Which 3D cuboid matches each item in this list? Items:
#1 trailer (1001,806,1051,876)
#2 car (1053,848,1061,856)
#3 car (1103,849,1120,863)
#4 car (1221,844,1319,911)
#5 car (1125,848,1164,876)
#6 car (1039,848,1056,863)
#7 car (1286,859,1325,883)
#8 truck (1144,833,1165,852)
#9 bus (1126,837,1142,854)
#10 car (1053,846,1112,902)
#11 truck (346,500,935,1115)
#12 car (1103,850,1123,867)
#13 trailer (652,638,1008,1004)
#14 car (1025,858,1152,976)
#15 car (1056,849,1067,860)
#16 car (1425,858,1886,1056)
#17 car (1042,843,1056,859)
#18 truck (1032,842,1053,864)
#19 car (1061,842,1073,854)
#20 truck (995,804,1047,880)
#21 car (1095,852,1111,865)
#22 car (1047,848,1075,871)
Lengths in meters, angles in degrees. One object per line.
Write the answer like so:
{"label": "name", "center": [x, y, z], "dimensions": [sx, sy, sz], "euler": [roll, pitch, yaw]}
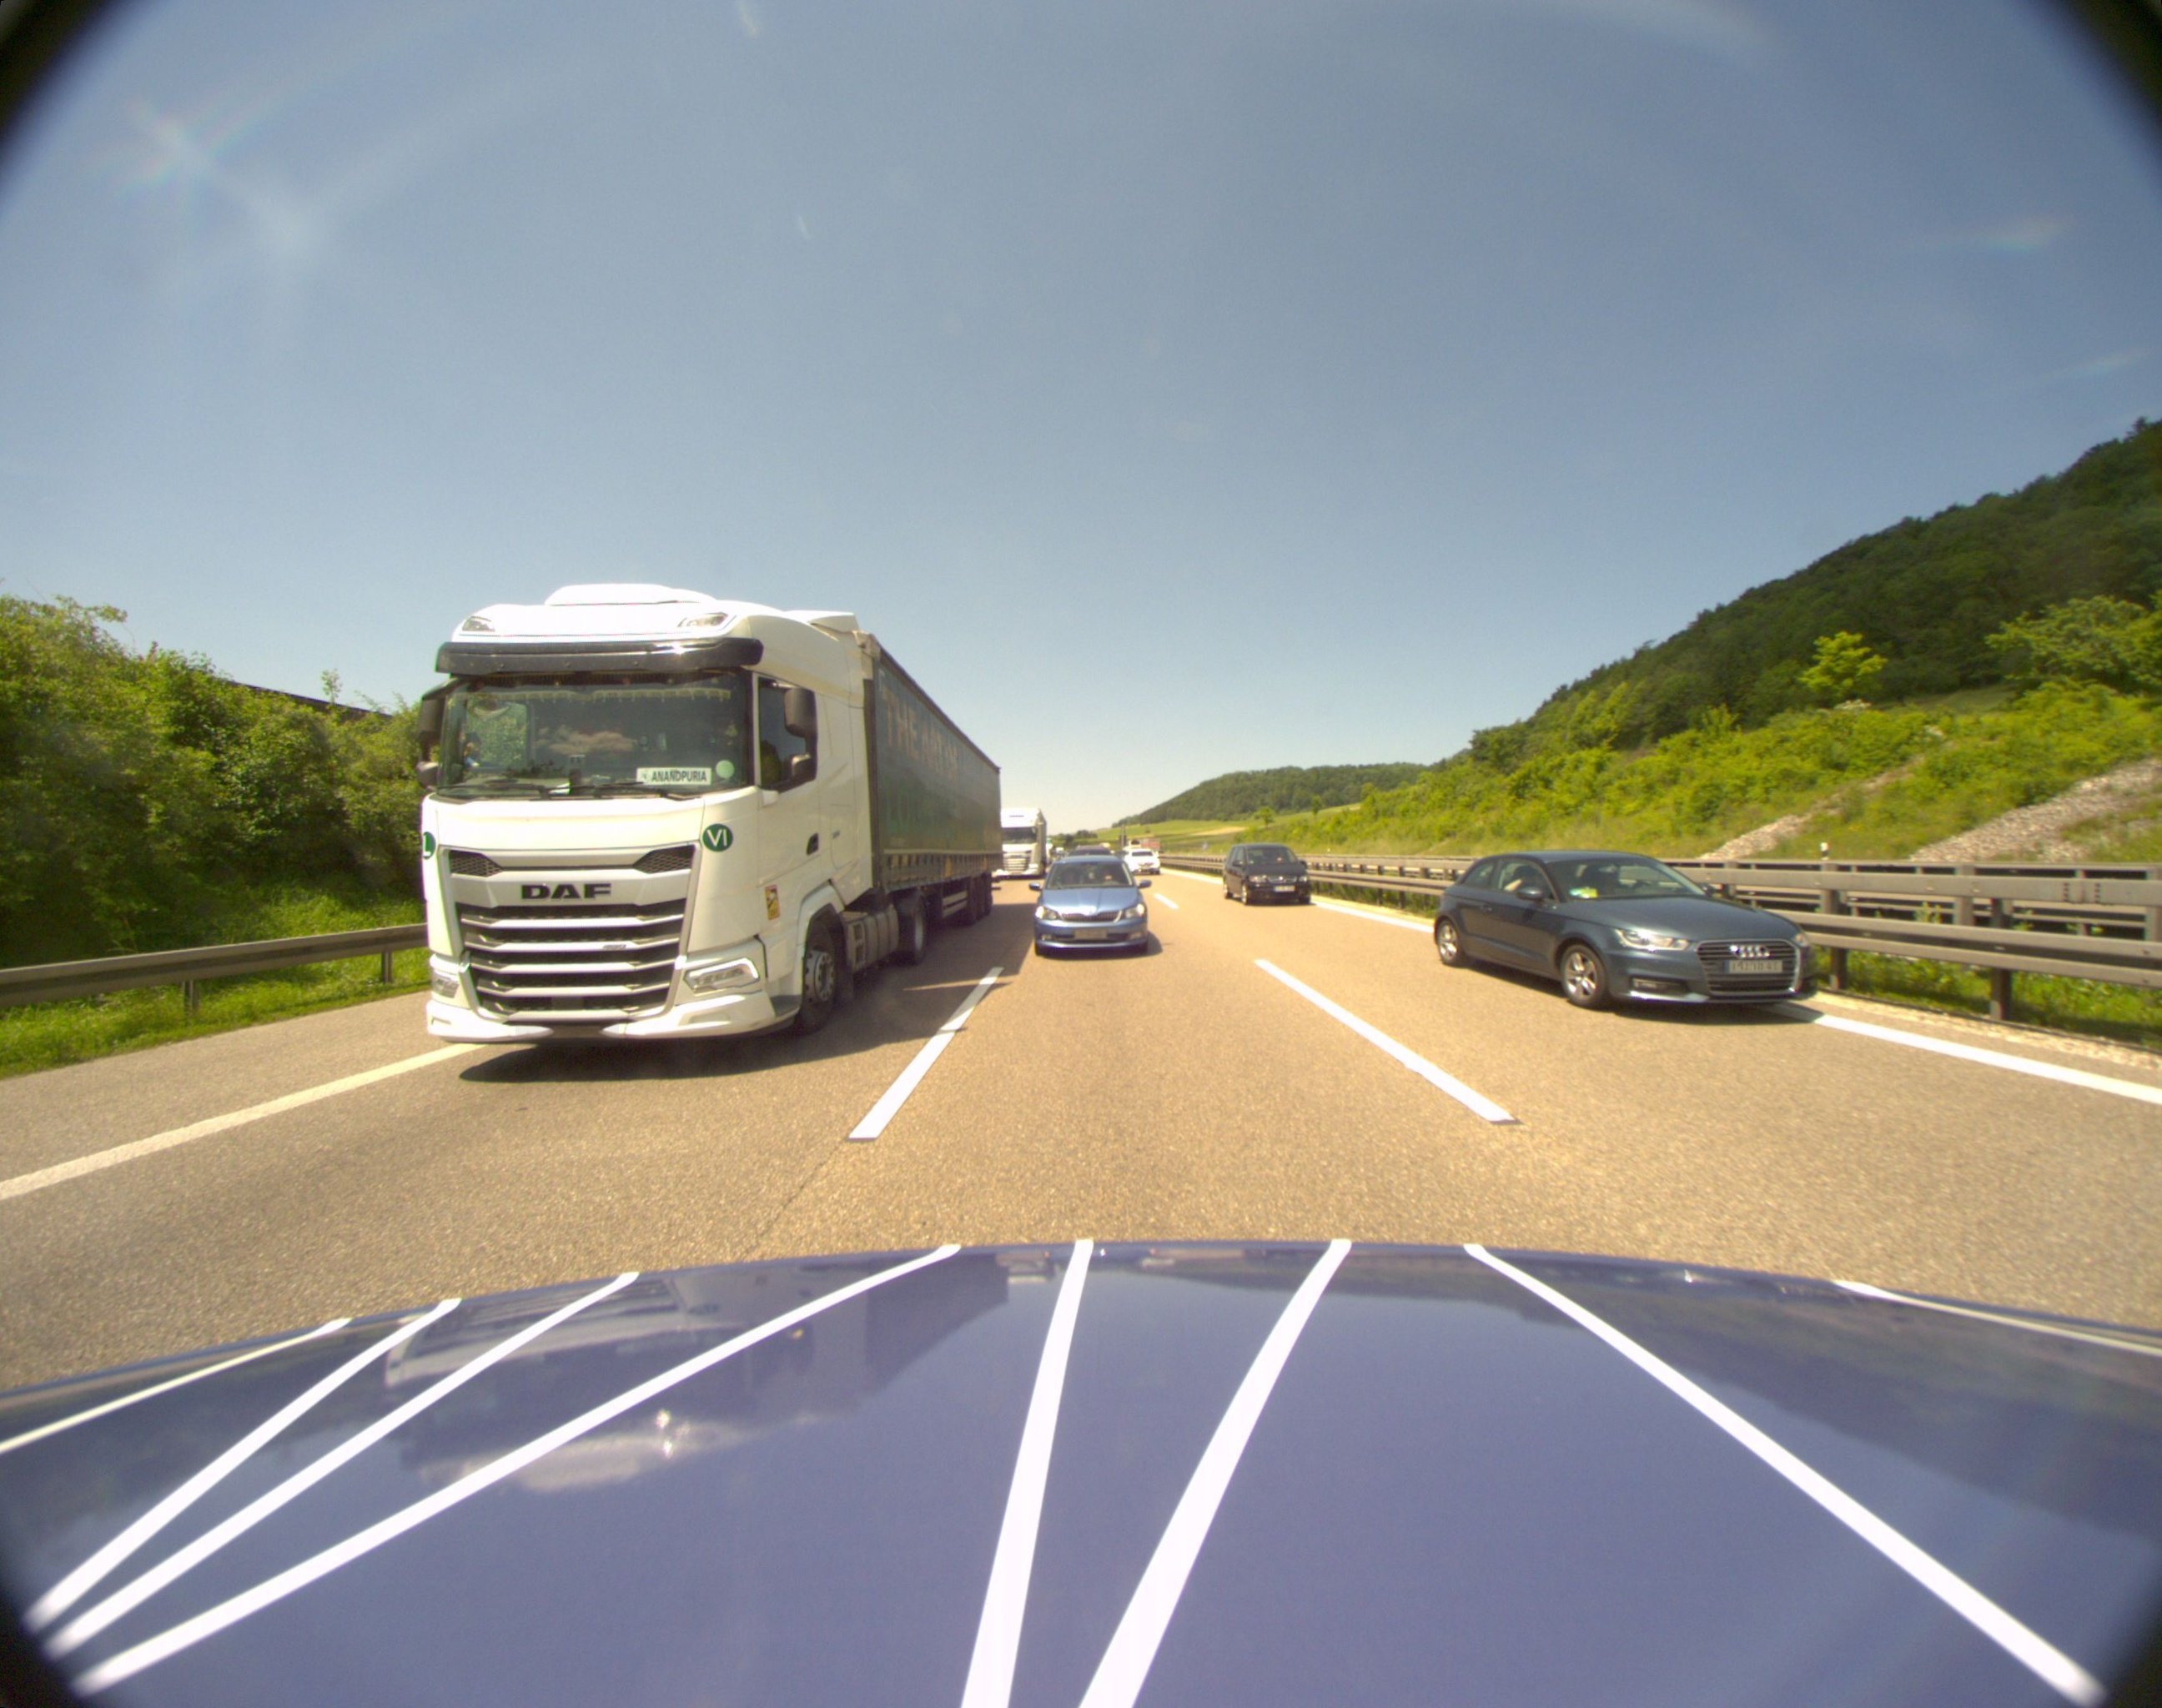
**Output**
{"label": "trailer", "center": [-3.582, -0.860, 52.228], "dimensions": [2.544, 4.085, 13.624], "euler": [-2, 1, -1]}
{"label": "car", "center": [-6.432, -0.597, 201.903], "dimensions": [1.998, 2.002, 3.999], "euler": [-2, 1, 1]}
{"label": "car", "center": [3.892, 0.269, 97.542], "dimensions": [1.998, 1.702, 4.000], "euler": [-2, 1, 4]}
{"label": "car", "center": [5.058, 0.568, 20.941], "dimensions": [1.805, 1.625, 4.446], "euler": [-1, 1, 3]}
{"label": "car", "center": [3.872, 0.444, 46.932], "dimensions": [1.999, 1.612, 3.999], "euler": [-2, 1, 0]}
{"label": "car", "center": [-4.131, 0.148, 94.819], "dimensions": [1.778, 1.655, 3.999], "euler": [-2, 1, 1]}
{"label": "car", "center": [18.195, 1.368, 61.843], "dimensions": [1.998, 1.702, 3.999], "euler": [-2, 1, 1]}
{"label": "truck", "center": [16.100, -2.482, 167.689], "dimensions": [3.626, 4.079, 9.921], "euler": [-1, 1, 1]}
{"label": "bus", "center": [11.739, -1.888, 170.218], "dimensions": [2.686, 3.640, 14.815], "euler": [-1, 1, 1]}
{"label": "car", "center": [0.128, 0.583, 25.291], "dimensions": [1.736, 1.674, 4.198], "euler": [-1, 1, 3]}
{"label": "truck", "center": [-3.466, -0.320, 8.141], "dimensions": [2.484, 3.954, 6.380], "euler": [-1, 1, 0]}
{"label": "car", "center": [3.527, 0.493, 82.729], "dimensions": [1.998, 1.702, 4.000], "euler": [-2, 1, 4]}
{"label": "trailer", "center": [-3.400, -0.415, 15.148], "dimensions": [2.484, 3.954, 13.653], "euler": [-1, 1, 0]}
{"label": "car", "center": [0.126, 0.849, 12.477], "dimensions": [1.660, 1.481, 4.653], "euler": [-1, 1, 1]}
{"label": "car", "center": [-4.095, 0.120, 157.339], "dimensions": [1.998, 2.002, 3.999], "euler": [-2, 1, 1]}
{"label": "car", "center": [5.150, 0.776, 7.617], "dimensions": [1.692, 1.380, 4.000], "euler": [-1, 1, 2]}
{"label": "car", "center": [-4.606, -0.432, 109.447], "dimensions": [1.778, 2.178, 3.999], "euler": [-2, 1, 1]}
{"label": "truck", "center": [-4.250, -0.170, 84.114], "dimensions": [1.835, 2.267, 6.594], "euler": [-2, 1, 1]}
{"label": "car", "center": [-2.498, -1.118, 134.735], "dimensions": [1.998, 2.002, 3.999], "euler": [-2, 1, 1]}
{"label": "truck", "center": [-3.460, -0.712, 44.989], "dimensions": [2.531, 4.065, 6.078], "euler": [-2, 1, -1]}
{"label": "car", "center": [3.107, 0.651, 106.095], "dimensions": [1.998, 1.702, 4.000], "euler": [-2, 1, 4]}
{"label": "car", "center": [-1.516, 0.412, 60.181], "dimensions": [1.998, 1.702, 3.999], "euler": [-2, 1, 1]}
